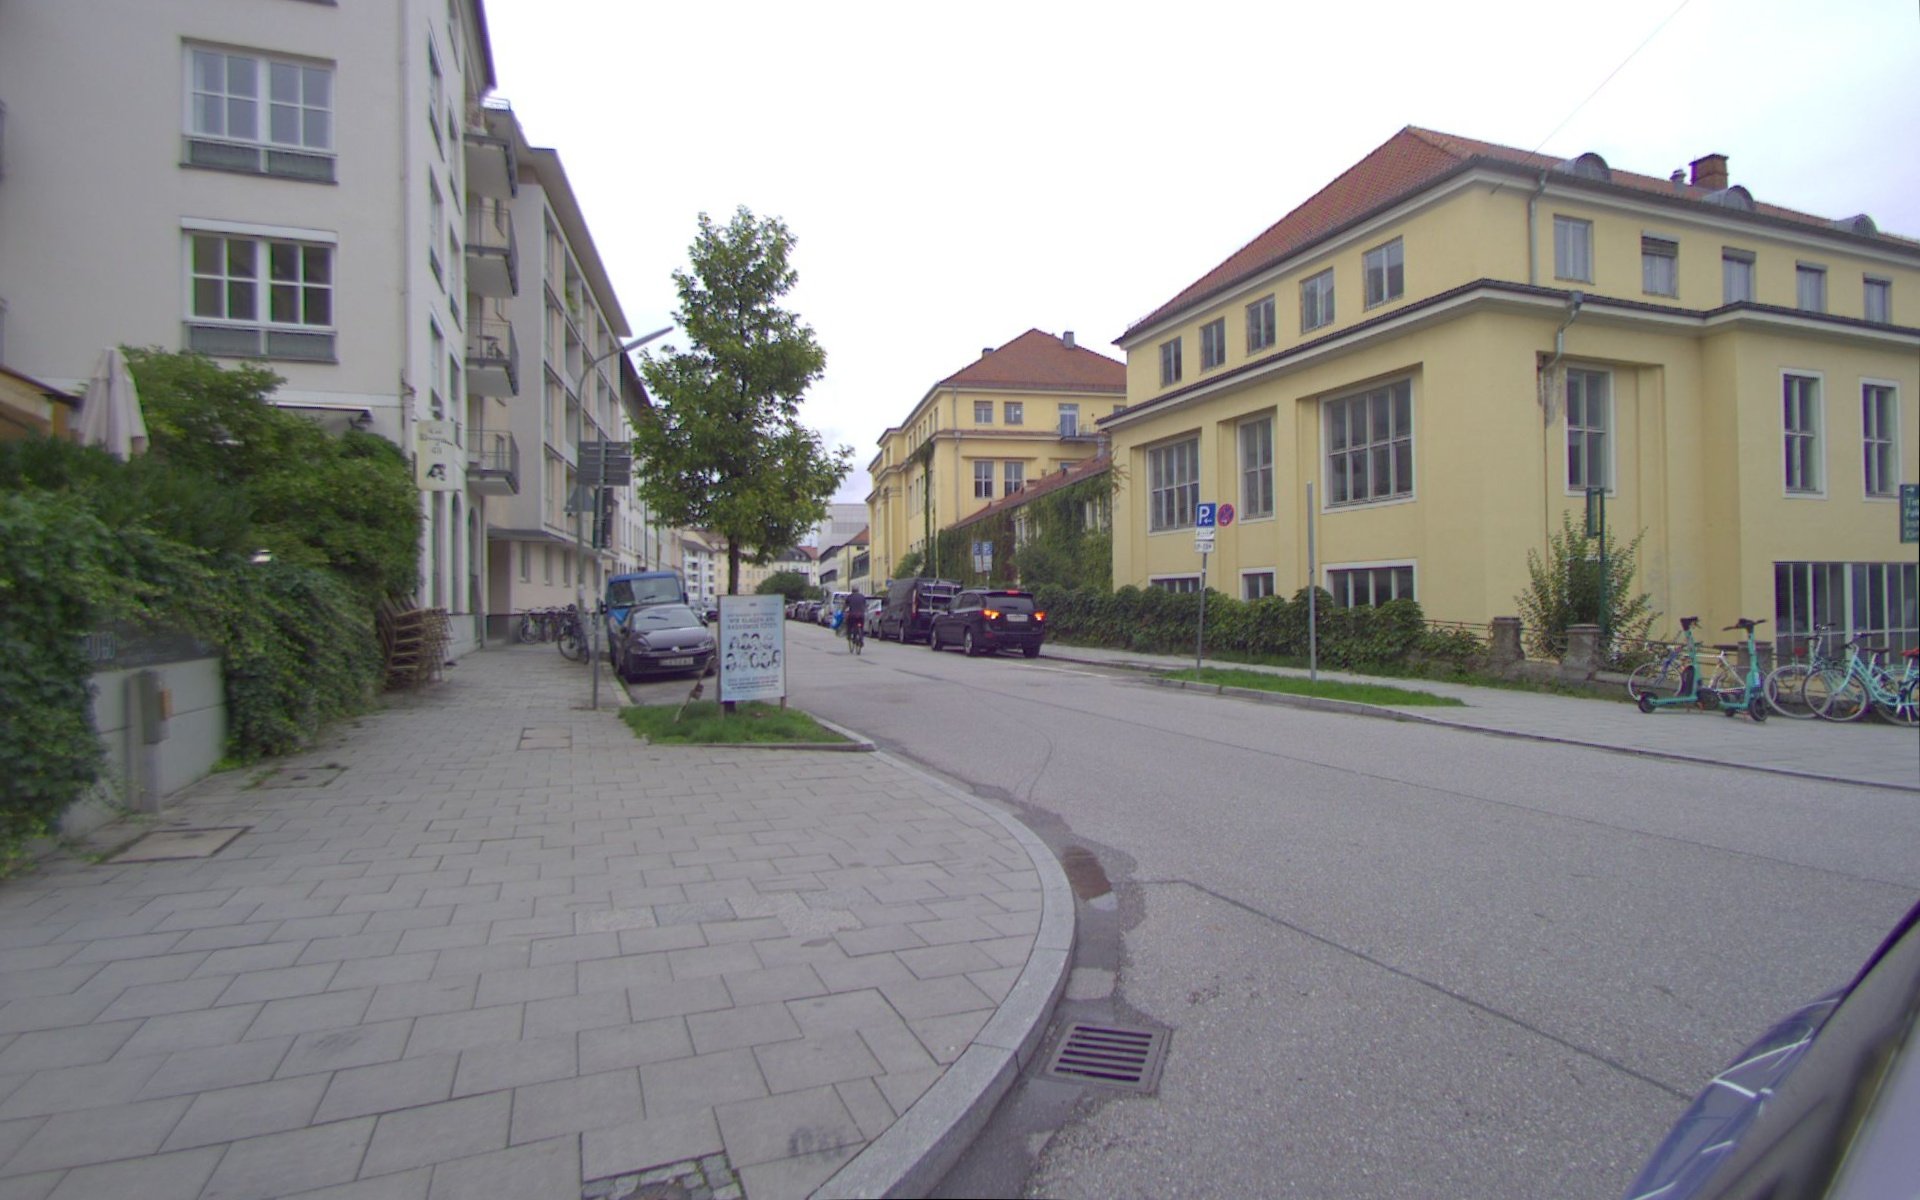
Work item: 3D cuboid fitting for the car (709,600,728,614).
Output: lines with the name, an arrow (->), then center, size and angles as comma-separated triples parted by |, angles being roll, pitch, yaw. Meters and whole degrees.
car -> -28.190, 0.856, 118.322 | 1.854, 1.473, 4.748 | -4, 0, -10

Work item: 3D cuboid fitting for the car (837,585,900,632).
car -> -4.001, 0.365, 43.461 | 1.935, 1.859, 4.691 | 1, -1, -14

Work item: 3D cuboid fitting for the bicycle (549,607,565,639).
bicycle -> -14.011, 0.792, 35.198 | 0.453, 1.066, 1.845 | 1, -1, -21

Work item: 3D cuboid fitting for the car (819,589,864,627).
car -> -6.281, 0.426, 53.425 | 1.935, 1.859, 4.690 | 1, -1, -11

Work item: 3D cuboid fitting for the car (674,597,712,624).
car -> -16.940, 0.654, 64.445 | 1.854, 1.473, 4.748 | -4, 0, -10

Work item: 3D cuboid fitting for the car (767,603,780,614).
car -> -27.553, 1.303, 149.444 | 1.735, 1.549, 4.006 | -1, 0, -9

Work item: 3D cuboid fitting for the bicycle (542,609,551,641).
bicycle -> -14.308, 0.867, 35.035 | 0.244, 1.066, 1.969 | 1, -1, -21

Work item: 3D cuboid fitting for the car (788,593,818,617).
car -> -12.565, 0.419, 80.949 | 1.935, 1.859, 4.691 | 1, -1, -13

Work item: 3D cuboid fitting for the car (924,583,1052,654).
car -> 0.622, 0.471, 27.105 | 1.896, 1.730, 4.635 | 1, 0, -19

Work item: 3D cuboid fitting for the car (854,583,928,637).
car -> -2.658, 0.364, 37.888 | 1.935, 1.859, 4.691 | 1, -1, -14

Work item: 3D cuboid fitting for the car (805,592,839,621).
car -> -9.445, 0.419, 68.856 | 1.935, 1.859, 4.690 | 1, -1, -12

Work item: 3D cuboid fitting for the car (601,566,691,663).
car -> -8.309, 0.286, 26.590 | 1.943, 2.195, 4.724 | -4, 2, -19

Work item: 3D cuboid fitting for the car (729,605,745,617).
car -> -25.671, 1.232, 116.600 | 1.757, 1.358, 3.843 | -1, 0, -13

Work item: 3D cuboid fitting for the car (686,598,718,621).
car -> -18.632, 0.687, 73.243 | 1.854, 1.473, 4.748 | -4, 0, -10

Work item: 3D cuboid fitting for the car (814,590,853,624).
car -> -7.465, 0.420, 59.404 | 1.935, 1.859, 4.690 | 1, -1, -11

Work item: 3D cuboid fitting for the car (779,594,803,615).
car -> -16.179, 0.432, 96.643 | 1.935, 1.859, 4.691 | 1, -1, -13

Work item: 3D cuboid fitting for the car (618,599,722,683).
car -> -5.989, 0.746, 20.627 | 1.744, 1.413, 3.812 | -4, 1, -19

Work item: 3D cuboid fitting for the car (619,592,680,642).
car -> -11.608, 0.623, 37.760 | 1.943, 1.581, 4.723 | -4, 0, -18

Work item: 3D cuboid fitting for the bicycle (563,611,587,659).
bicycle -> -9.043, 0.797, 23.774 | 0.477, 1.066, 2.187 | 1, -1, -21

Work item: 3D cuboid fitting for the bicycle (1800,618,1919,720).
bicycle -> 11.625, 0.869, 12.707 | 1.635, 1.206, 0.201 | 3, 0, 22

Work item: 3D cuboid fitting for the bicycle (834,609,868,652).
bicycle -> -2.802, 0.761, 25.936 | 0.610, 1.030, 1.721 | 1, 0, -15

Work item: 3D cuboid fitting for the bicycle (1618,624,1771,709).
bicycle -> 9.962, 0.879, 13.779 | 0.244, 1.006, 1.650 | 2, 0, -44

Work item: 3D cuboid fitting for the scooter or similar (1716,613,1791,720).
scooter or similar -> 9.683, 0.781, 12.376 | 0.319, 1.228, 1.111 | 1, -1, 16

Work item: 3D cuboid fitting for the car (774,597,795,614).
car -> -19.278, 0.602, 111.276 | 1.935, 1.859, 4.691 | 1, -1, -13

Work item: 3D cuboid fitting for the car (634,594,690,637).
car -> -12.650, 0.644, 43.151 | 1.921, 1.581, 4.619 | -4, 0, -13

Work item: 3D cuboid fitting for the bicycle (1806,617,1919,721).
bicycle -> 11.545, 0.860, 12.528 | 1.635, 1.213, 0.168 | 2, 0, 22

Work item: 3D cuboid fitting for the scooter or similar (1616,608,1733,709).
scooter or similar -> 9.265, 0.755, 13.125 | 1.361, 1.264, 0.397 | 1, -1, -11

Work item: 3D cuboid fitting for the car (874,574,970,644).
car -> -1.338, 0.285, 33.011 | 1.935, 2.098, 4.691 | 1, -1, -17

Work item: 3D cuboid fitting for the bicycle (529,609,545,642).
bicycle -> -14.355, 0.863, 34.382 | 0.427, 1.066, 1.969 | 1, -1, -21

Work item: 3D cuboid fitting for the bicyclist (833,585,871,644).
bicyclist -> -2.760, 0.369, 25.878 | 0.825, 1.477, 0.746 | 1, -1, -14
